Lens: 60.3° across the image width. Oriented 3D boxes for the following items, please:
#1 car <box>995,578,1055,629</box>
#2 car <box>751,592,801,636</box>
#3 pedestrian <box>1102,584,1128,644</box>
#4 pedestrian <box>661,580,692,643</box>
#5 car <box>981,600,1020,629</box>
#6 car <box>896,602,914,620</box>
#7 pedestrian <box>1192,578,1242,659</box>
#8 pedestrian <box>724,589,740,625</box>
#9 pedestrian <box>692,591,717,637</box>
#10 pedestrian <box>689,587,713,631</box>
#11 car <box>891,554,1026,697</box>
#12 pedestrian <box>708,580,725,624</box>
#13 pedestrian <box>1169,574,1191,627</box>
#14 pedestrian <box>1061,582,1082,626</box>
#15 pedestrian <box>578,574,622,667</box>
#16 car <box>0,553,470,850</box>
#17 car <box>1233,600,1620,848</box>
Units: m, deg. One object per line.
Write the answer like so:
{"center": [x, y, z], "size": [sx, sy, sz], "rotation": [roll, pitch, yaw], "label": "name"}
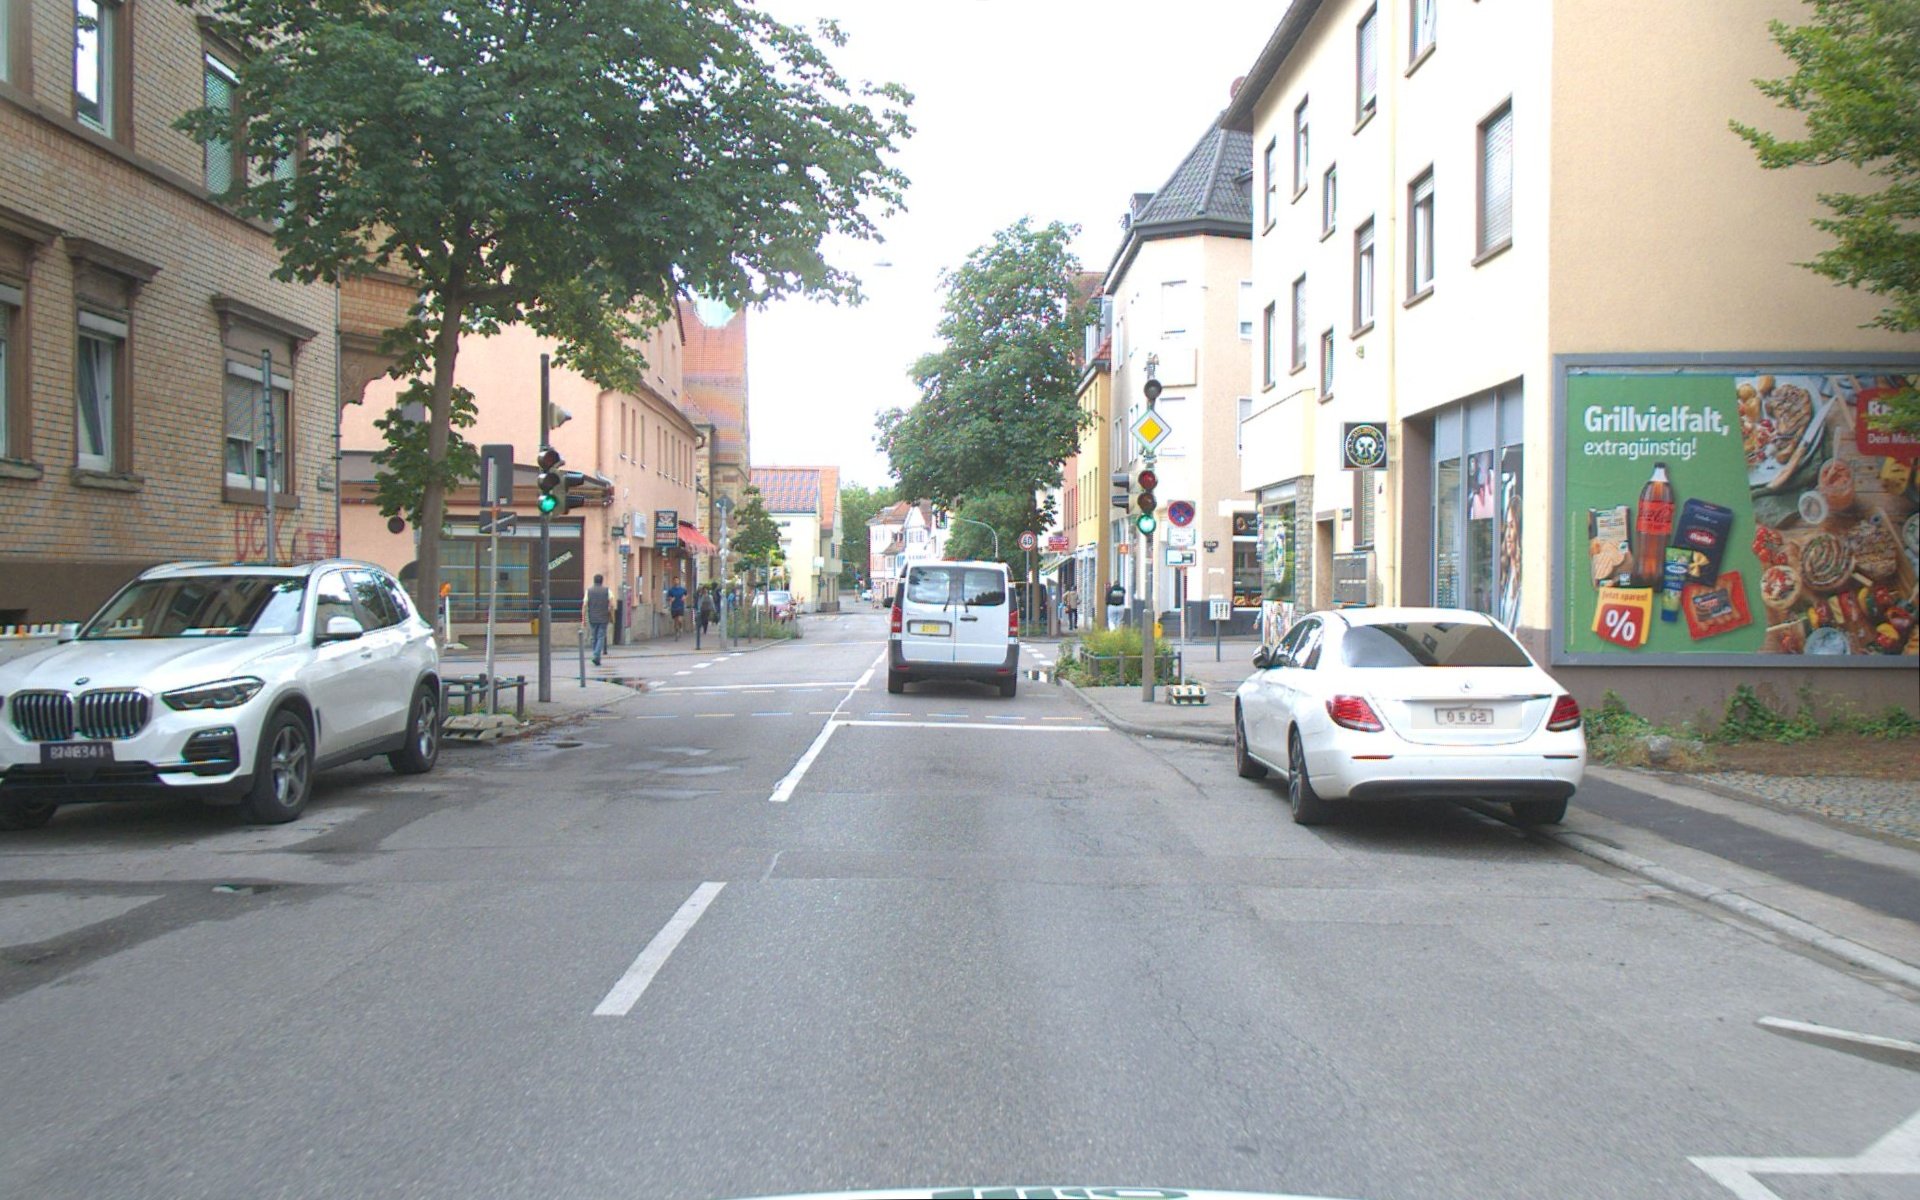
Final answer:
{"center": [2.378, 0.154, 61.430], "size": [1.783, 1.812, 4.399], "rotation": [0, 0, -4], "label": "car"}
{"center": [-7.349, 0.533, 66.461], "size": [1.669, 1.601, 4.448], "rotation": [-2, 0, -3], "label": "car"}
{"center": [4.373, 0.396, 46.692], "size": [0.602, 1.682, 0.982], "rotation": [0, 0, -3], "label": "pedestrian"}
{"center": [-7.948, 0.311, 46.381], "size": [0.724, 1.748, 1.156], "rotation": [1, 0, -4], "label": "pedestrian"}
{"center": [1.914, 0.686, 78.845], "size": [1.520, 1.356, 3.810], "rotation": [0, 0, -3], "label": "car"}
{"center": [-6.210, 1.245, 186.037], "size": [1.896, 2.049, 3.997], "rotation": [1, -1, -3], "label": "car"}
{"center": [5.432, 0.394, 34.990], "size": [0.669, 1.693, 0.790], "rotation": [0, -1, -38], "label": "pedestrian"}
{"center": [-9.939, 0.304, 72.199], "size": [0.559, 1.581, 0.696], "rotation": [2, 0, -2], "label": "pedestrian"}
{"center": [-8.695, 0.467, 56.233], "size": [0.724, 1.562, 0.982], "rotation": [1, 0, -3], "label": "pedestrian"}
{"center": [-9.827, 0.338, 62.818], "size": [0.721, 1.657, 0.752], "rotation": [0, 0, -26], "label": "pedestrian"}
{"center": [-0.067, 0.343, 24.569], "size": [1.835, 1.945, 3.999], "rotation": [0, 0, -1], "label": "car"}
{"center": [-10.638, 0.105, 72.271], "size": [0.559, 1.880, 0.696], "rotation": [3, 0, -2], "label": "pedestrian"}
{"center": [6.649, 0.011, 50.025], "size": [0.555, 1.588, 0.520], "rotation": [1, -1, -2], "label": "pedestrian"}
{"center": [4.305, 0.139, 64.130], "size": [0.687, 1.678, 0.888], "rotation": [-1, 0, -3], "label": "pedestrian"}
{"center": [-7.030, 0.395, 32.351], "size": [0.724, 1.785, 0.981], "rotation": [1, 0, -6], "label": "pedestrian"}
{"center": [-5.295, 0.610, 12.349], "size": [1.852, 1.742, 4.740], "rotation": [-2, 0, -1], "label": "car"}
{"center": [3.248, 0.756, 12.521], "size": [1.731, 1.491, 4.784], "rotation": [0, 0, 2], "label": "car"}
